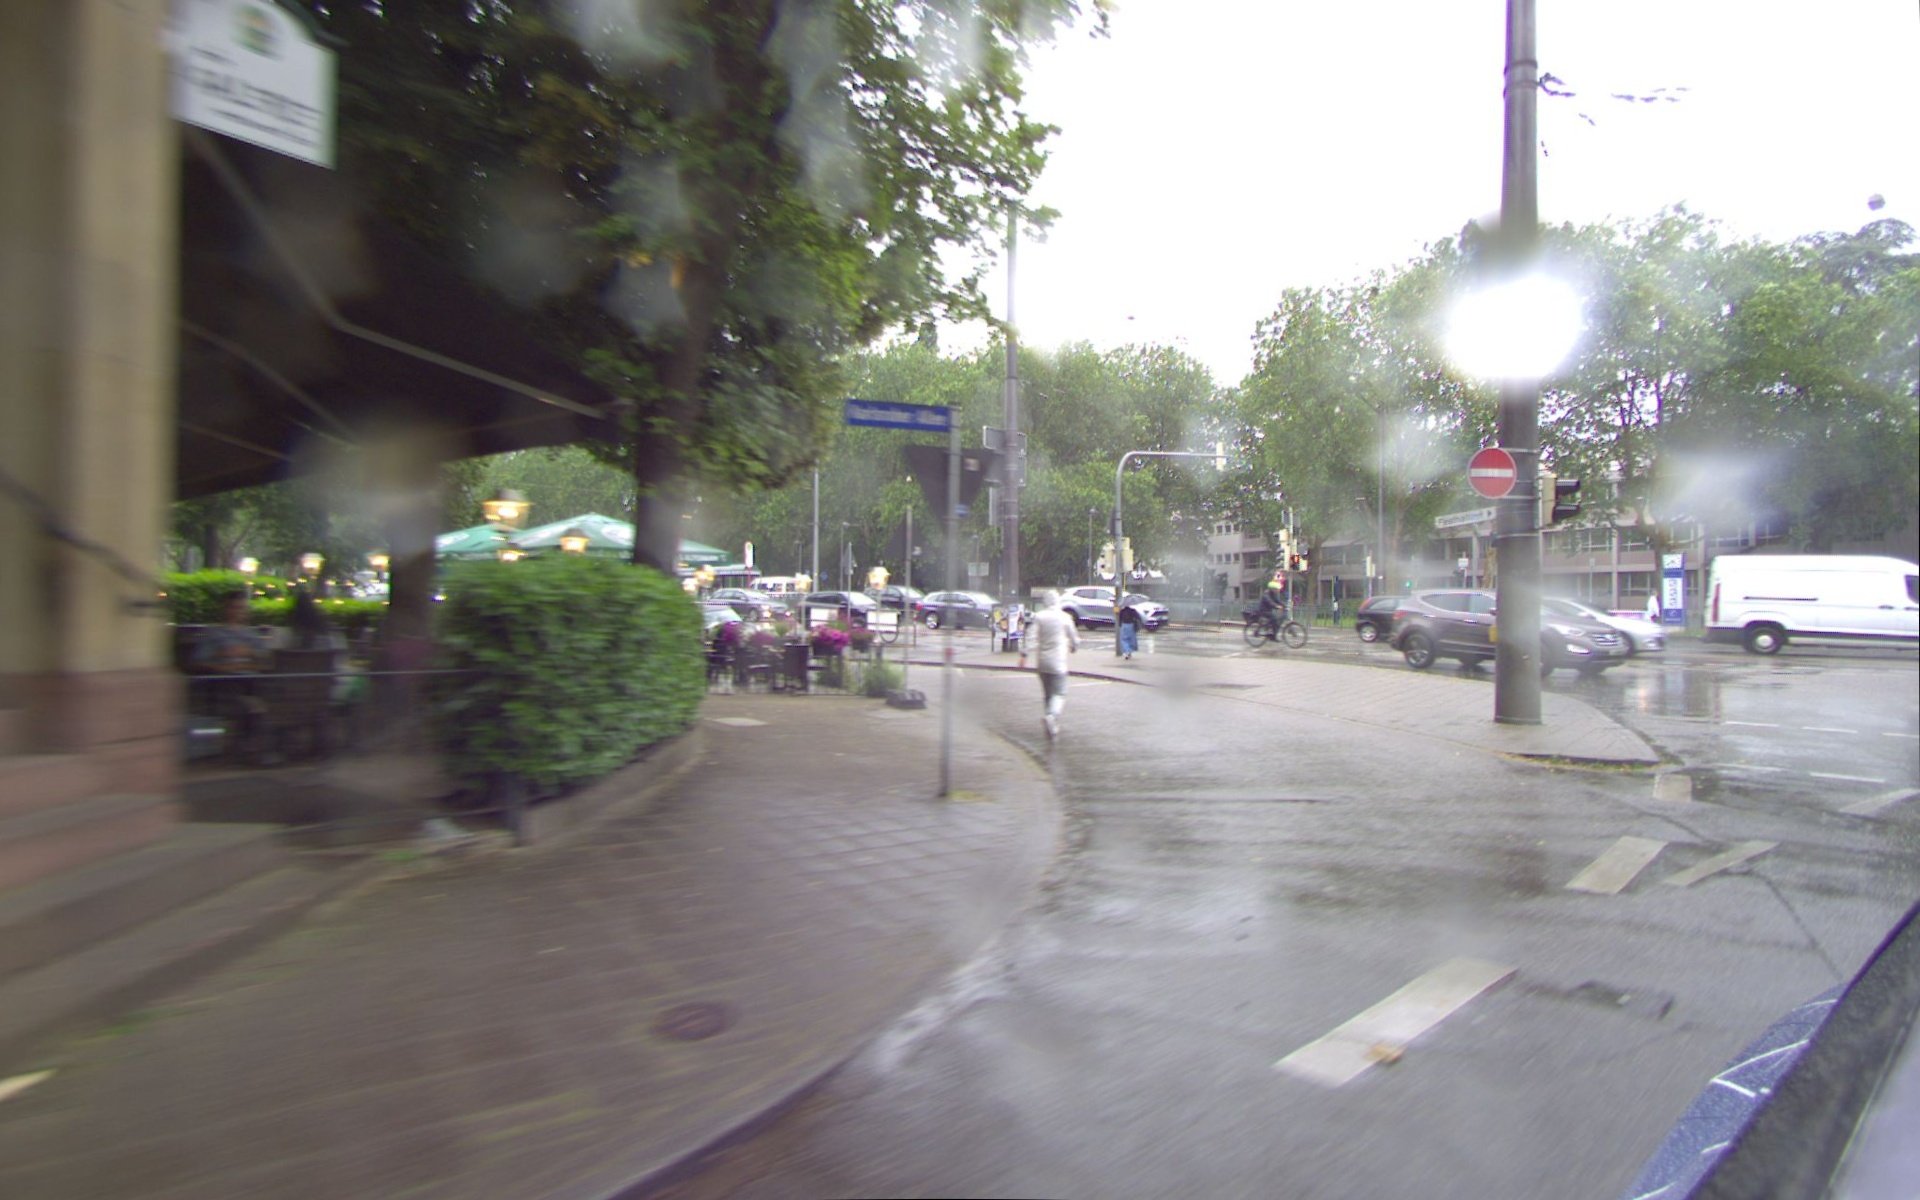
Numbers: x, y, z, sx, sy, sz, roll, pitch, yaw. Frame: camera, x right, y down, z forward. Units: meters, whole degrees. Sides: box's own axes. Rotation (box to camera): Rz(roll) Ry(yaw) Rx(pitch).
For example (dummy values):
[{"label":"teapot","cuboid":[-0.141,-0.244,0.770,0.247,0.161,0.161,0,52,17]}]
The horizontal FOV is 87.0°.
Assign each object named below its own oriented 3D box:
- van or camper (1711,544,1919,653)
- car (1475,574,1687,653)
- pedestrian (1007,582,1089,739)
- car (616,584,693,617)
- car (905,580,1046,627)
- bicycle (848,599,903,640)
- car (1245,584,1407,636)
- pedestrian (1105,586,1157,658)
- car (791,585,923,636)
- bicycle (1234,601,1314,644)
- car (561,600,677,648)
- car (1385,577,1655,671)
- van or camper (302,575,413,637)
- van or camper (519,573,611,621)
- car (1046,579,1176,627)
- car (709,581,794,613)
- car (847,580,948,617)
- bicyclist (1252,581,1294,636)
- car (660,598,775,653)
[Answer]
[{"label":"van or camper","cuboid":[21.970,-0.047,24.515,5.931,2.502,2.155,0,0,35]},{"label":"car","cuboid":[15.131,0.295,24.741,4.243,1.763,1.950,0,1,38]},{"label":"pedestrian","cuboid":[1.100,0.719,12.398,0.560,1.796,1.195,3,-1,23]},{"label":"car","cuboid":[-17.168,0.018,56.756,4.577,1.786,1.972,0,1,40]},{"label":"car","cuboid":[0.517,0.144,37.702,5.313,1.613,1.920,0,-1,41]},{"label":"bicycle","cuboid":[-2.544,0.571,30.274,1.783,1.183,0.418,-1,2,38]},{"label":"car","cuboid":[11.604,0.302,32.264,4.532,1.532,1.763,0,1,39]},{"label":"pedestrian","cuboid":[4.133,0.524,24.593,1.085,1.688,0.997,-1,0,1]},{"label":"car","cuboid":[-3.746,0.359,36.378,4.666,1.708,1.952,0,1,38]},{"label":"bicycle","cuboid":[8.758,0.610,28.299,1.990,1.101,0.807,2,3,42]},{"label":"car","cuboid":[-11.475,0.759,33.928,4.195,1.482,1.727,0,1,39]},{"label":"car","cuboid":[11.253,0.411,20.770,1.874,1.667,4.689,-1,1,-22]},{"label":"van or camper","cuboid":[-27.125,0.249,45.496,6.064,2.624,2.302,0,0,39]},{"label":"van or camper","cuboid":[-21.907,-0.182,56.065,5.681,2.530,2.116,0,1,38]},{"label":"car","cuboid":[5.588,0.094,37.708,4.532,1.680,1.763,0,1,39]},{"label":"car","cuboid":[-9.542,-0.144,46.131,4.229,1.375,1.613,0,1,41]},{"label":"car","cuboid":[-2.799,-0.059,44.713,4.455,1.532,1.763,0,1,39]},{"label":"bicyclist","cuboid":[8.770,0.224,28.343,0.802,1.488,0.914,1,2,42]},{"label":"car","cuboid":[-7.293,0.717,30.318,3.501,1.519,1.628,0,1,41]}]
